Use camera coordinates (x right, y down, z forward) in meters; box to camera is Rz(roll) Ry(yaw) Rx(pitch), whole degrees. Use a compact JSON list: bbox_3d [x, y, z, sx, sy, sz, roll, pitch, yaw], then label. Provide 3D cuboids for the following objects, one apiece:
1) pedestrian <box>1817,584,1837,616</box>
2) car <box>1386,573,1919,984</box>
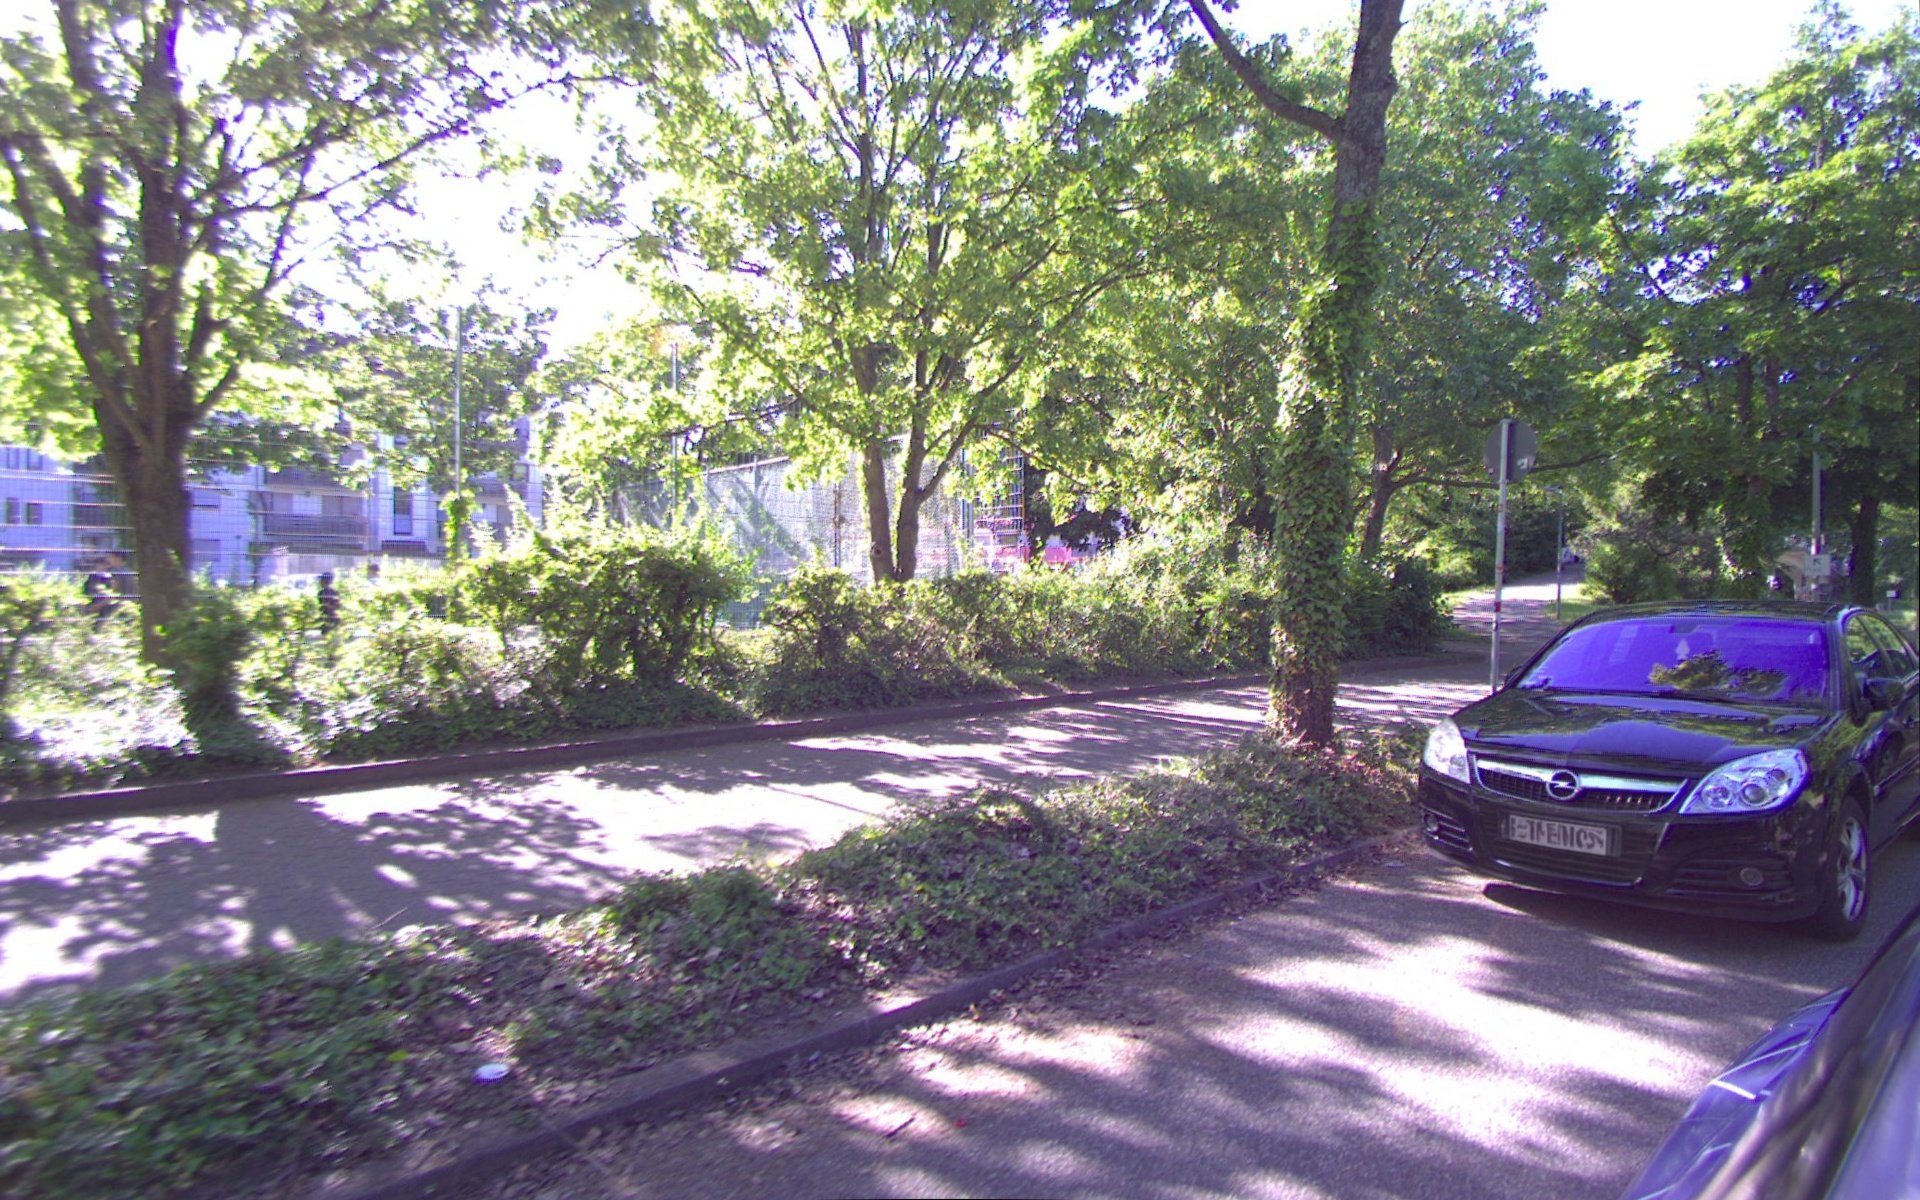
[{"bbox_3d":[51.292,-0.021,59.859,0.659,1.855,0.792,0,0,-41],"label":"pedestrian"},{"bbox_3d":[4.217,0.618,5.638,3.958,1.499,1.752,-1,1,-39],"label":"car"}]
